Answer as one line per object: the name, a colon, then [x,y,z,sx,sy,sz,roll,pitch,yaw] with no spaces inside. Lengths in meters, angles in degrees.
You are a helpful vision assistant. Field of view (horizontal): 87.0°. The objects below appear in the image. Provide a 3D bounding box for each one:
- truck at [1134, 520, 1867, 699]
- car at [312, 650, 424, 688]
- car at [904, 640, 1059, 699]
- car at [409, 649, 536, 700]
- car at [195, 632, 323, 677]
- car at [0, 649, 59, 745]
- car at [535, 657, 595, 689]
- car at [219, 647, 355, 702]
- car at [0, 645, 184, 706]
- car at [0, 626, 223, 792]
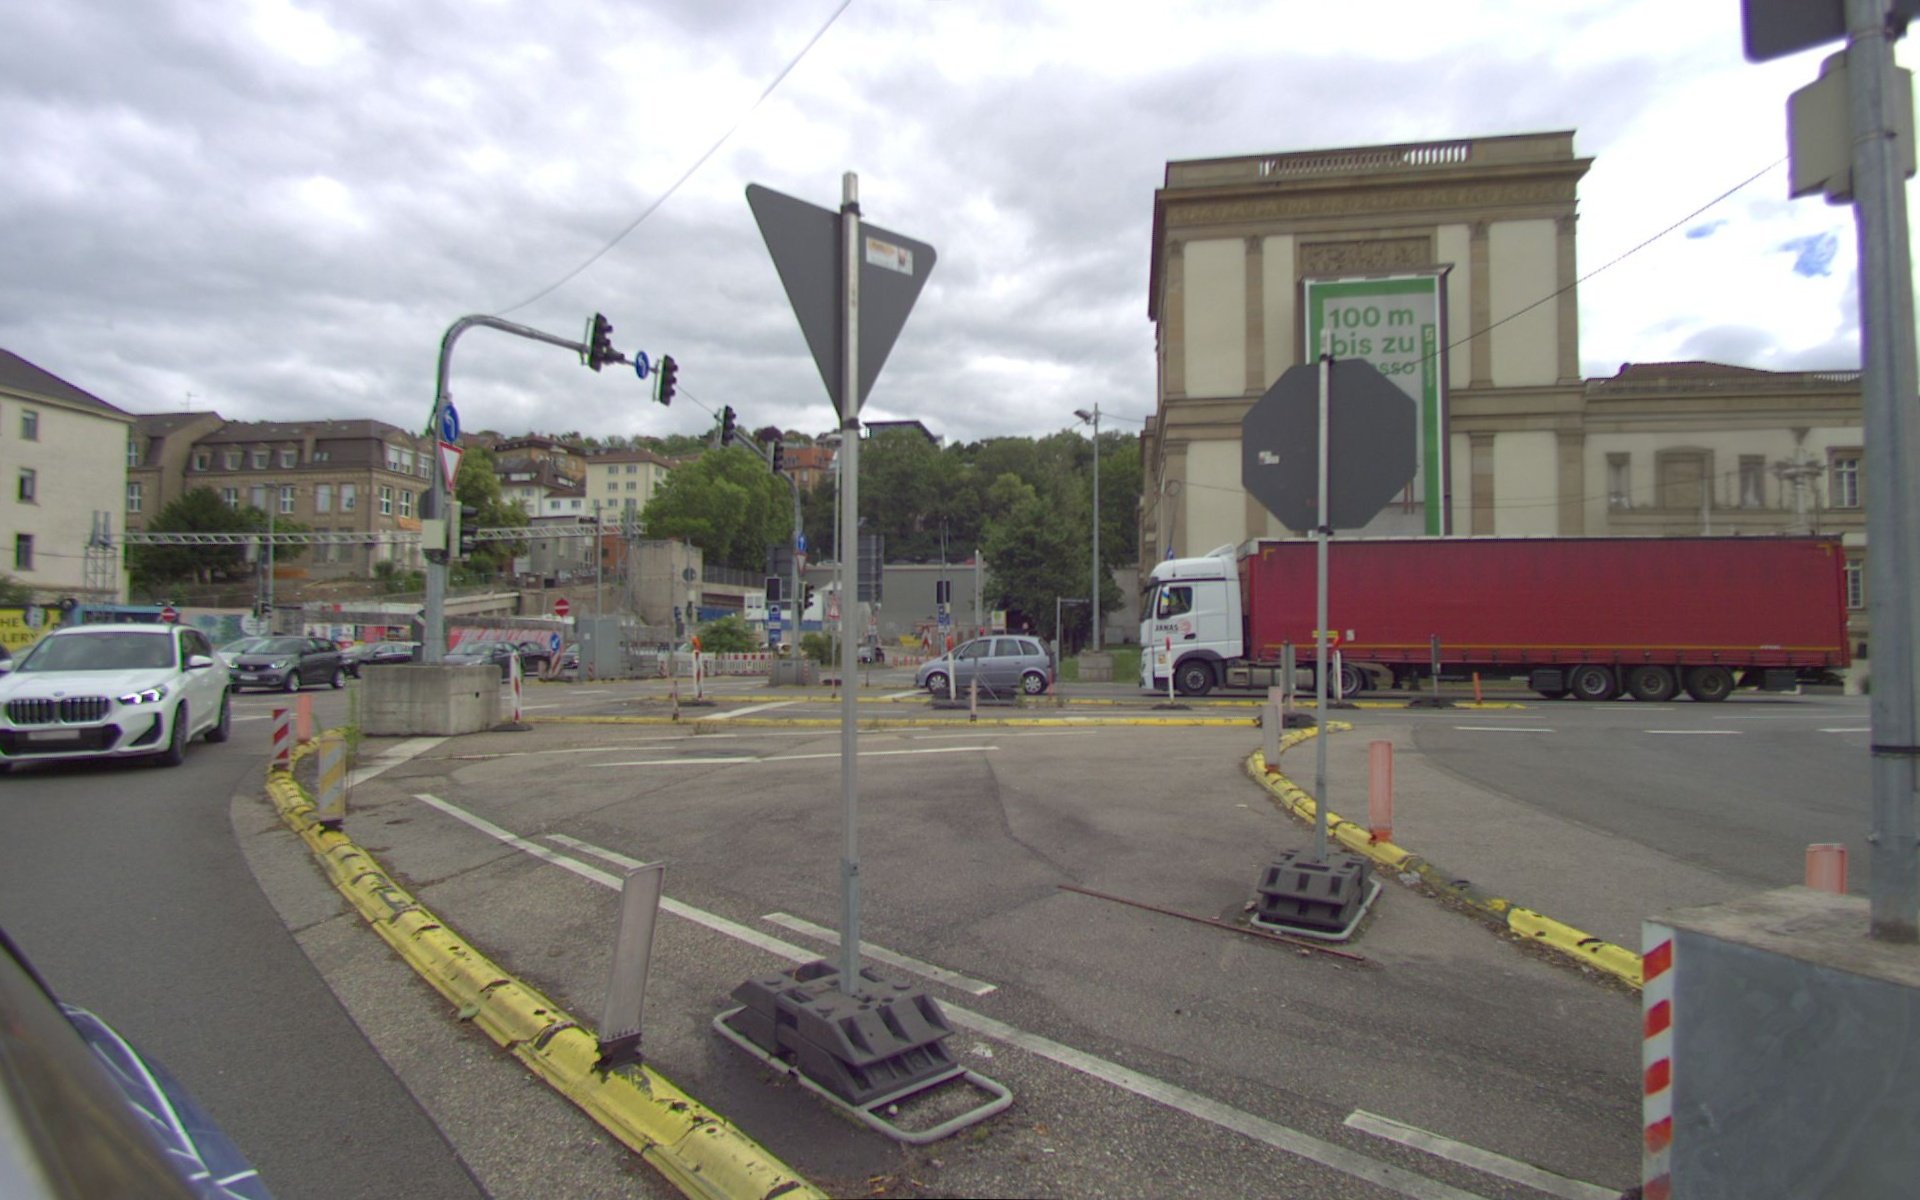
truck: [12.883,0.413,26.118,16.426,4.114,2.918,-1,-4,10]
car: [-23.146,2.701,39.721,1.711,1.400,3.687,-1,-4,13]
car: [0.647,1.918,28.044,4.084,1.515,1.766,-2,-3,9]
car: [-16.042,2.414,33.555,1.976,1.564,3.991,0,-3,7]
car: [-26.536,2.077,38.487,1.673,1.586,4.060,-2,-3,8]
car: [-15.499,1.466,15.027,1.704,1.481,4.433,2,-4,-22]
car: [-20.965,3.837,53.610,1.847,1.431,4.113,1,-2,-38]
car: [-18.712,2.066,28.316,1.554,1.430,3.573,0,-3,-4]
car: [-24.985,2.104,28.725,1.890,1.591,4.669,0,-4,9]
car: [-9.938,1.154,11.632,1.782,1.617,3.724,1,-3,-27]
